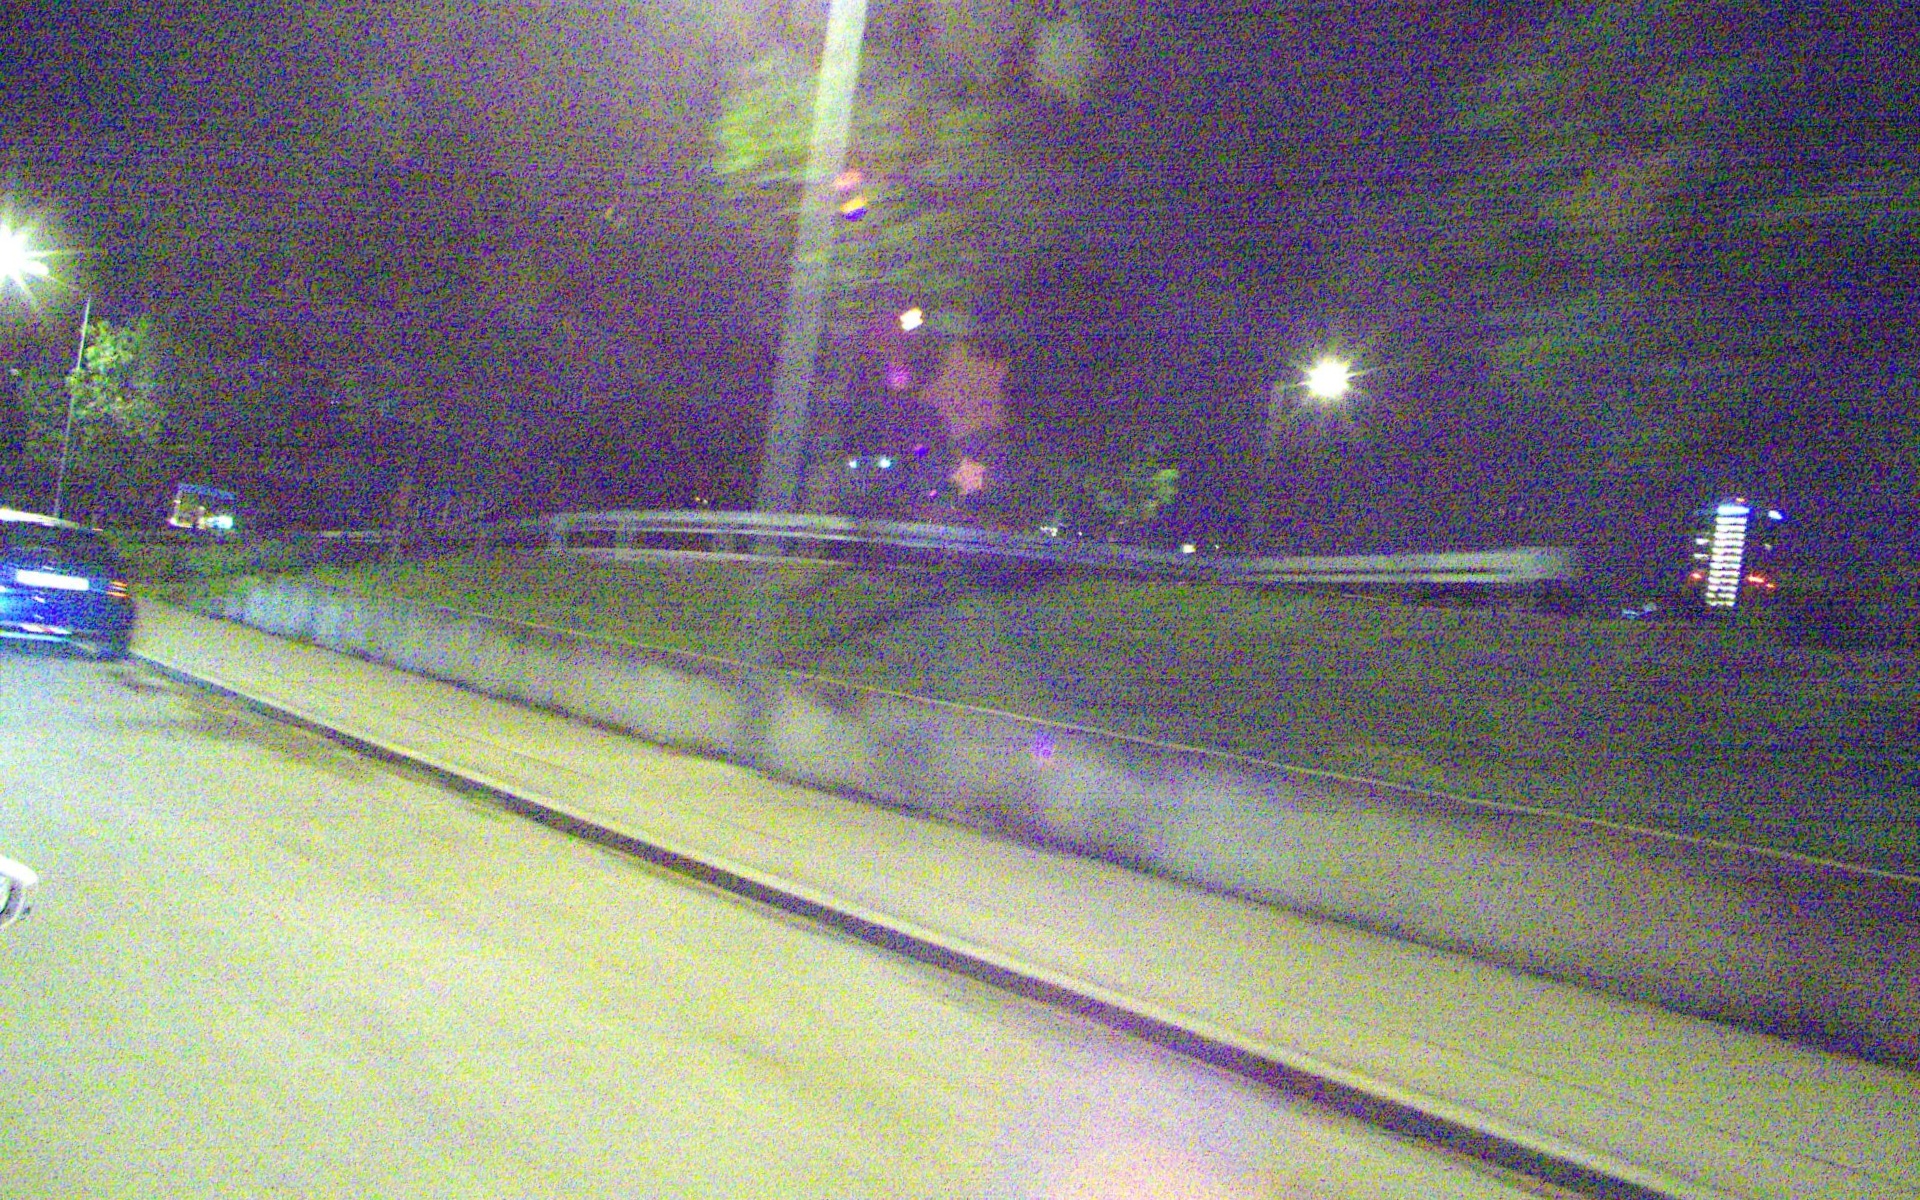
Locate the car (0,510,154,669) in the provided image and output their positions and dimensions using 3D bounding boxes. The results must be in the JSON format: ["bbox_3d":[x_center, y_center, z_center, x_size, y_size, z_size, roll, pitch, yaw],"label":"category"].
[{"bbox_3d":[-11.209,-0.260,11.848,3.767,1.527,1.611,6,-4,37],"label":"car"}]

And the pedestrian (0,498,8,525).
[{"bbox_3d":[-69.990,-6.477,73.399,0.568,1.874,0.810,8,-1,-41],"label":"pedestrian"}]
